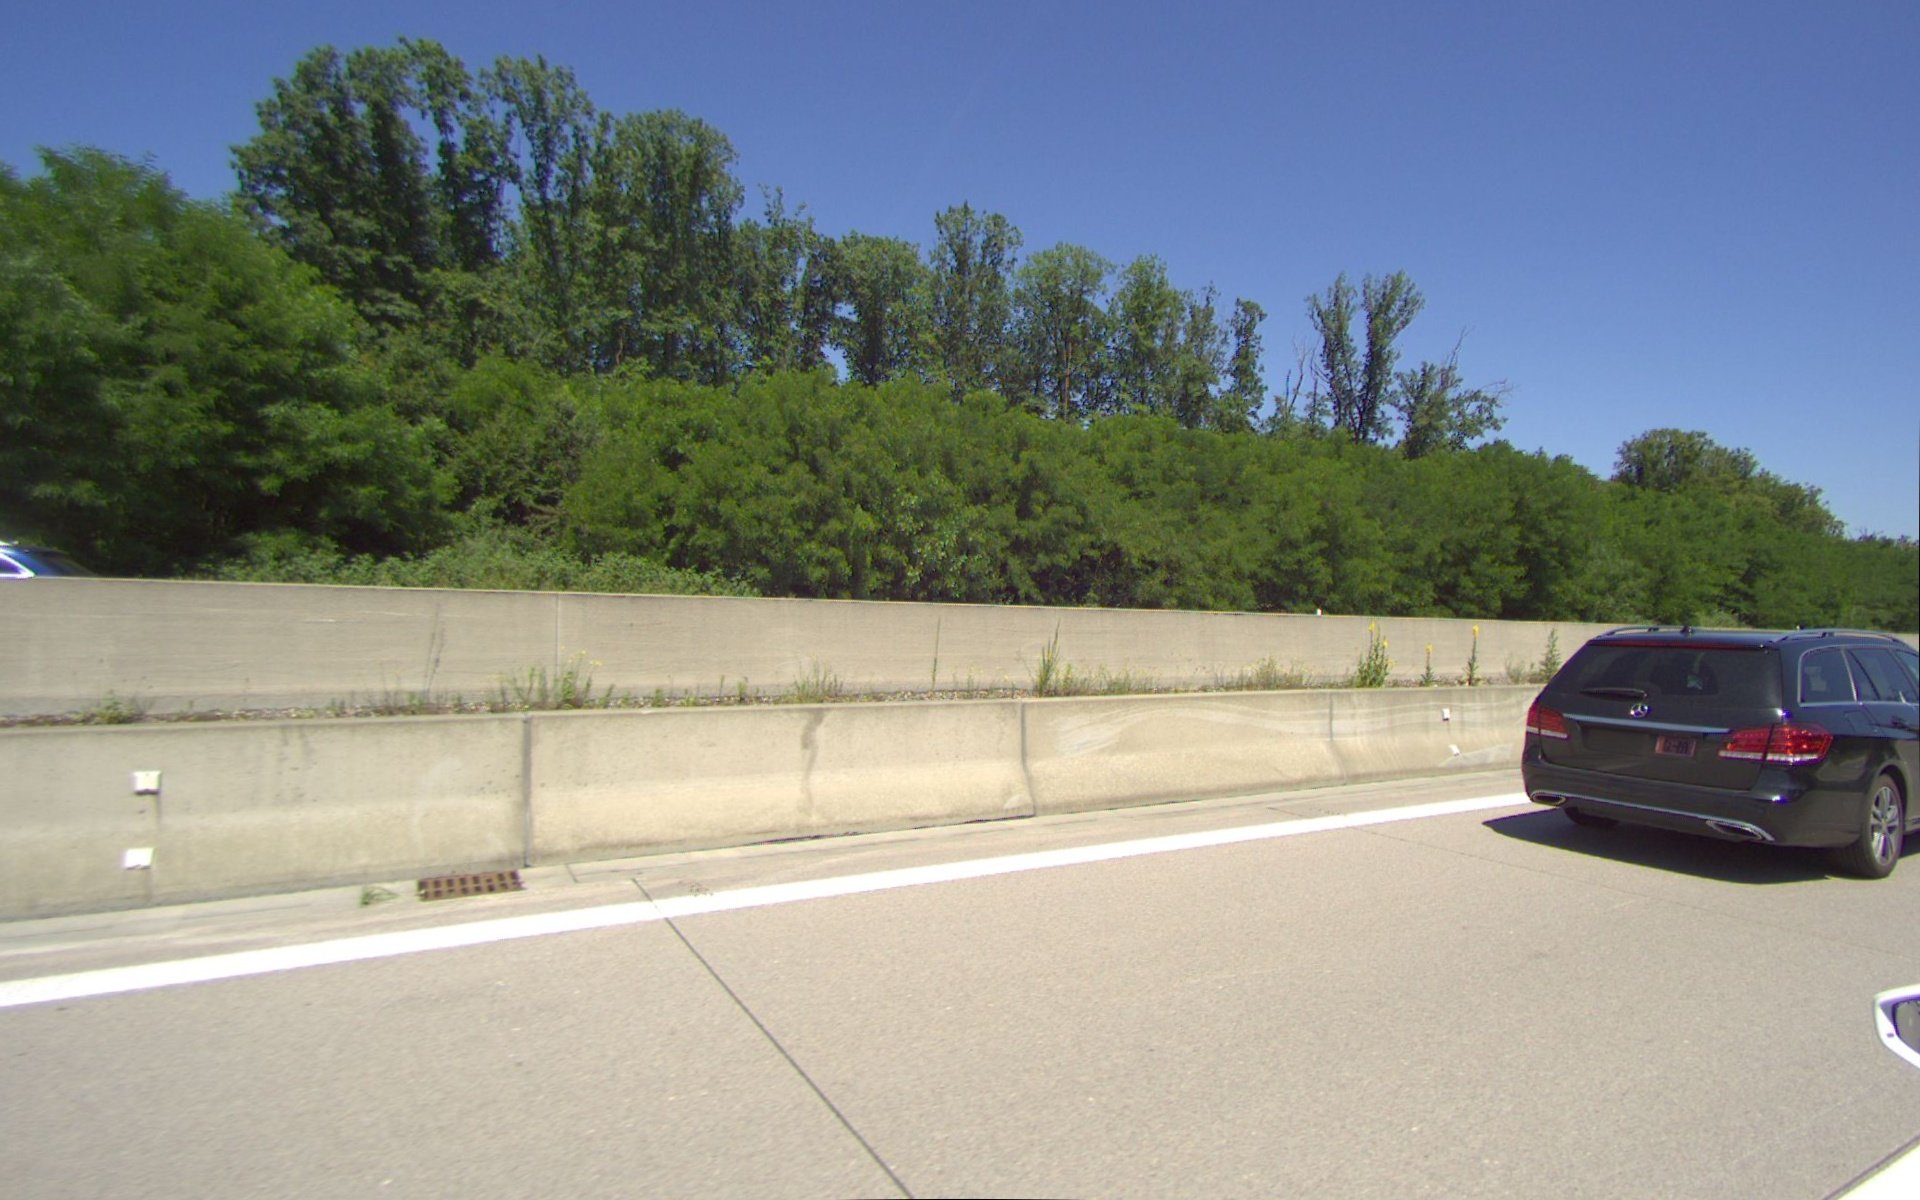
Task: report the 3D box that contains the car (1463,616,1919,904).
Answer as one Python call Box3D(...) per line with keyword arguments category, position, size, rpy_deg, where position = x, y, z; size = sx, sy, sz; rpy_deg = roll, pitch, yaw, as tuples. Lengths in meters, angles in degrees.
Box3D(category="car", position=(6.339, 0.916, 7.583), size=(5.539, 1.493, 1.881), rpy_deg=(1, 0, -31))

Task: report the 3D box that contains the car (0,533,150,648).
Box3D(category="car", position=(-12.255, -0.152, 12.134), size=(3.599, 1.344, 1.605), rpy_deg=(2, 1, -30))
